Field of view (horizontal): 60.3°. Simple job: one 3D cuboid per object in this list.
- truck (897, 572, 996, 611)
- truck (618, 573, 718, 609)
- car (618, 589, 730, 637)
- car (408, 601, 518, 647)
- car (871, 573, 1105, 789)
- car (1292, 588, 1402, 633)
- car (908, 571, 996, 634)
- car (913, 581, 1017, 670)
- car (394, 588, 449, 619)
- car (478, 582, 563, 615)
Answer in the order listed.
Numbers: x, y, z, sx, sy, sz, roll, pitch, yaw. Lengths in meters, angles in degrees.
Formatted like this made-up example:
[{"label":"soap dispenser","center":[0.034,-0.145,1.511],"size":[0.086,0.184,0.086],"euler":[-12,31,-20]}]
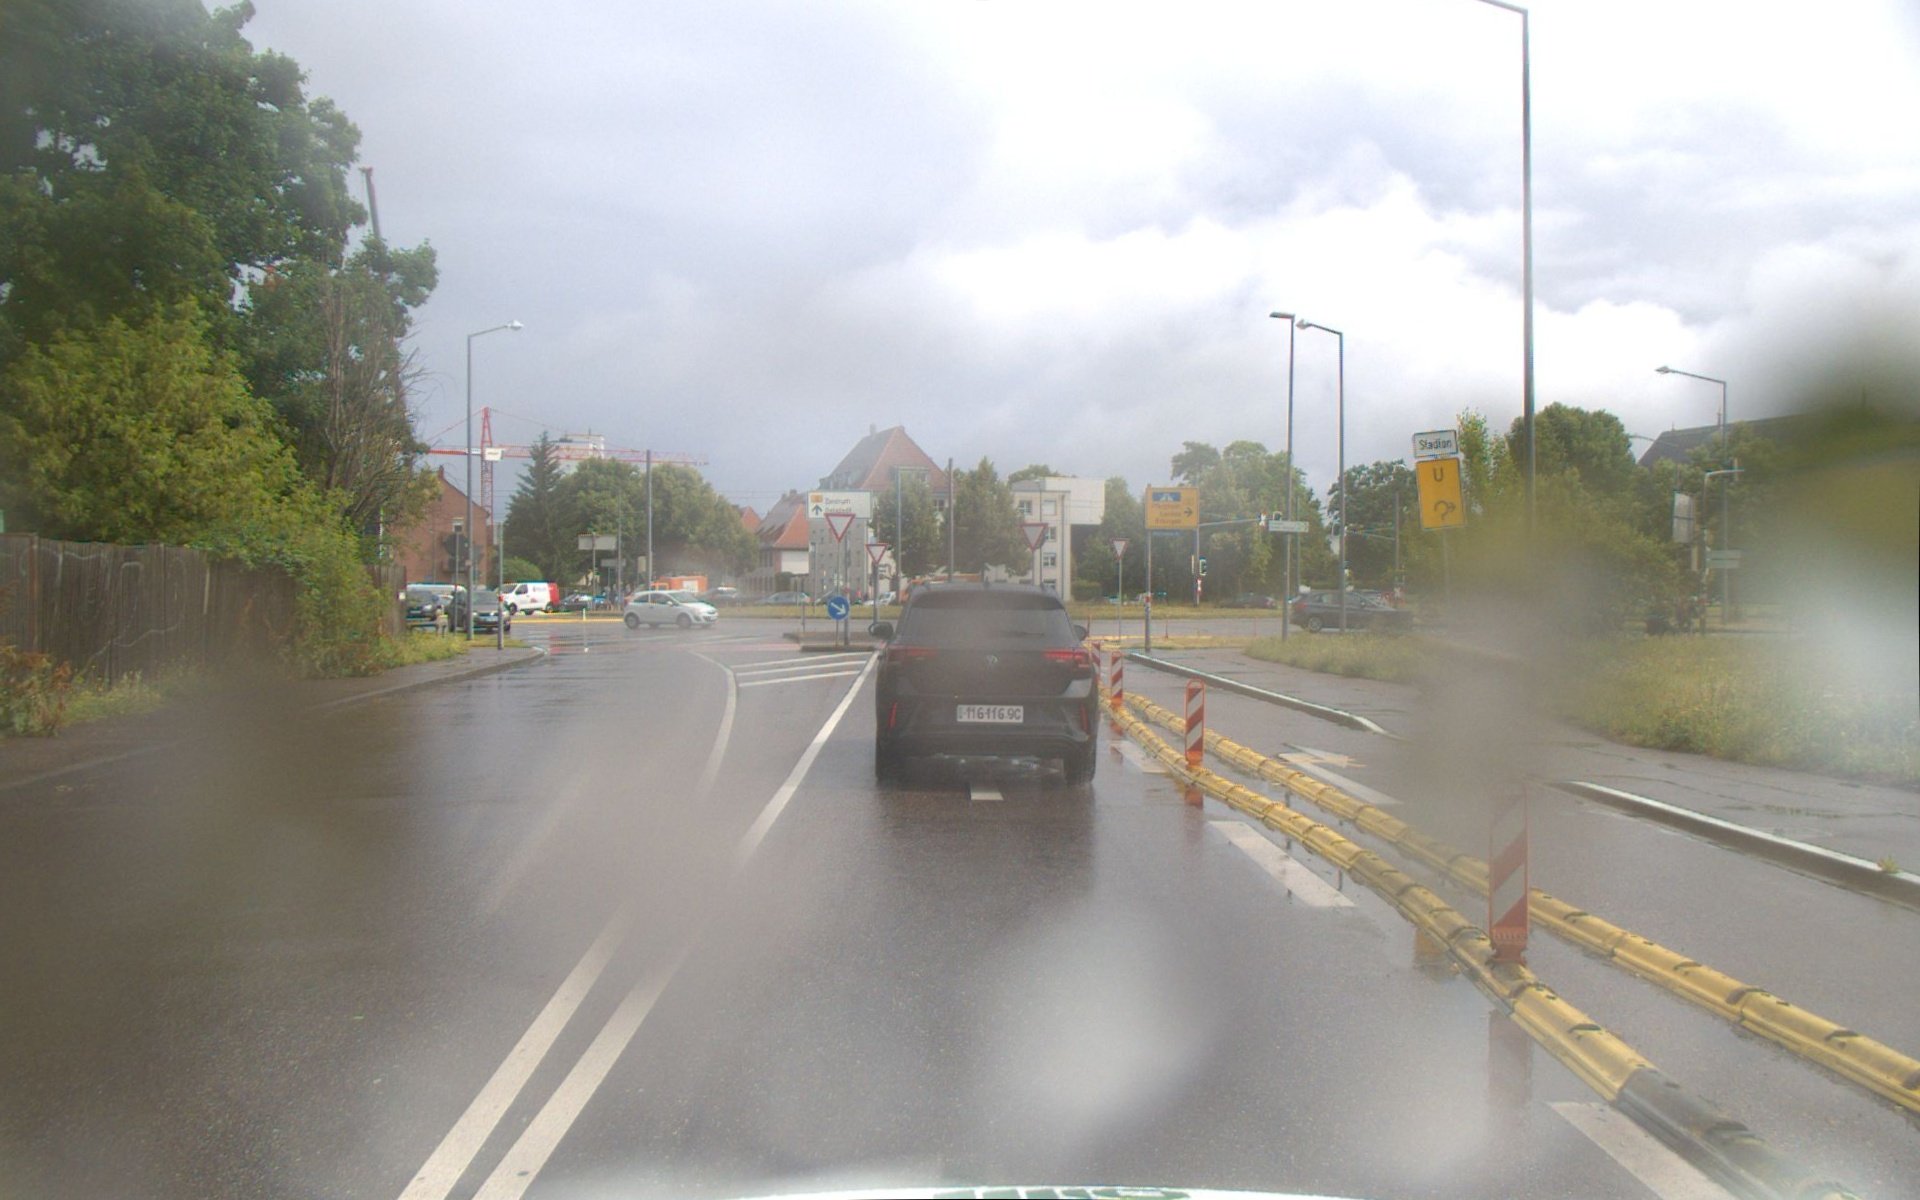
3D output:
[{"label":"truck","center":[-0.959,-0.585,116.827],"size":[6.922,2.696,2.329],"euler":[0,0,-1]},{"label":"truck","center":[-20.756,-0.657,117.675],"size":[6.647,2.485,2.404],"euler":[0,0,-36]},{"label":"car","center":[-11.339,0.502,65.579],"size":[3.904,1.862,2.001],"euler":[0,0,20]},{"label":"car","center":[-19.415,0.949,64.599],"size":[4.336,1.579,1.781],"euler":[-2,1,35]},{"label":"car","center":[0.117,0.612,14.240],"size":[1.675,1.601,3.679],"euler":[1,0,-4]},{"label":"car","center":[14.580,0.385,62.442],"size":[3.858,1.673,1.672],"euler":[0,0,5]},{"label":"car","center":[-0.188,0.055,50.878],"size":[1.824,1.841,4.407],"euler":[0,0,12]},{"label":"car","center":[0.037,0.433,30.522],"size":[1.701,1.540,3.601],"euler":[0,0,-3]},{"label":"car","center":[-26.680,0.187,81.891],"size":[1.854,1.508,4.136],"euler":[0,-1,-29]},{"label":"car","center":[-26.215,-0.128,98.806],"size":[1.852,1.909,5.124],"euler":[0,0,29]}]
